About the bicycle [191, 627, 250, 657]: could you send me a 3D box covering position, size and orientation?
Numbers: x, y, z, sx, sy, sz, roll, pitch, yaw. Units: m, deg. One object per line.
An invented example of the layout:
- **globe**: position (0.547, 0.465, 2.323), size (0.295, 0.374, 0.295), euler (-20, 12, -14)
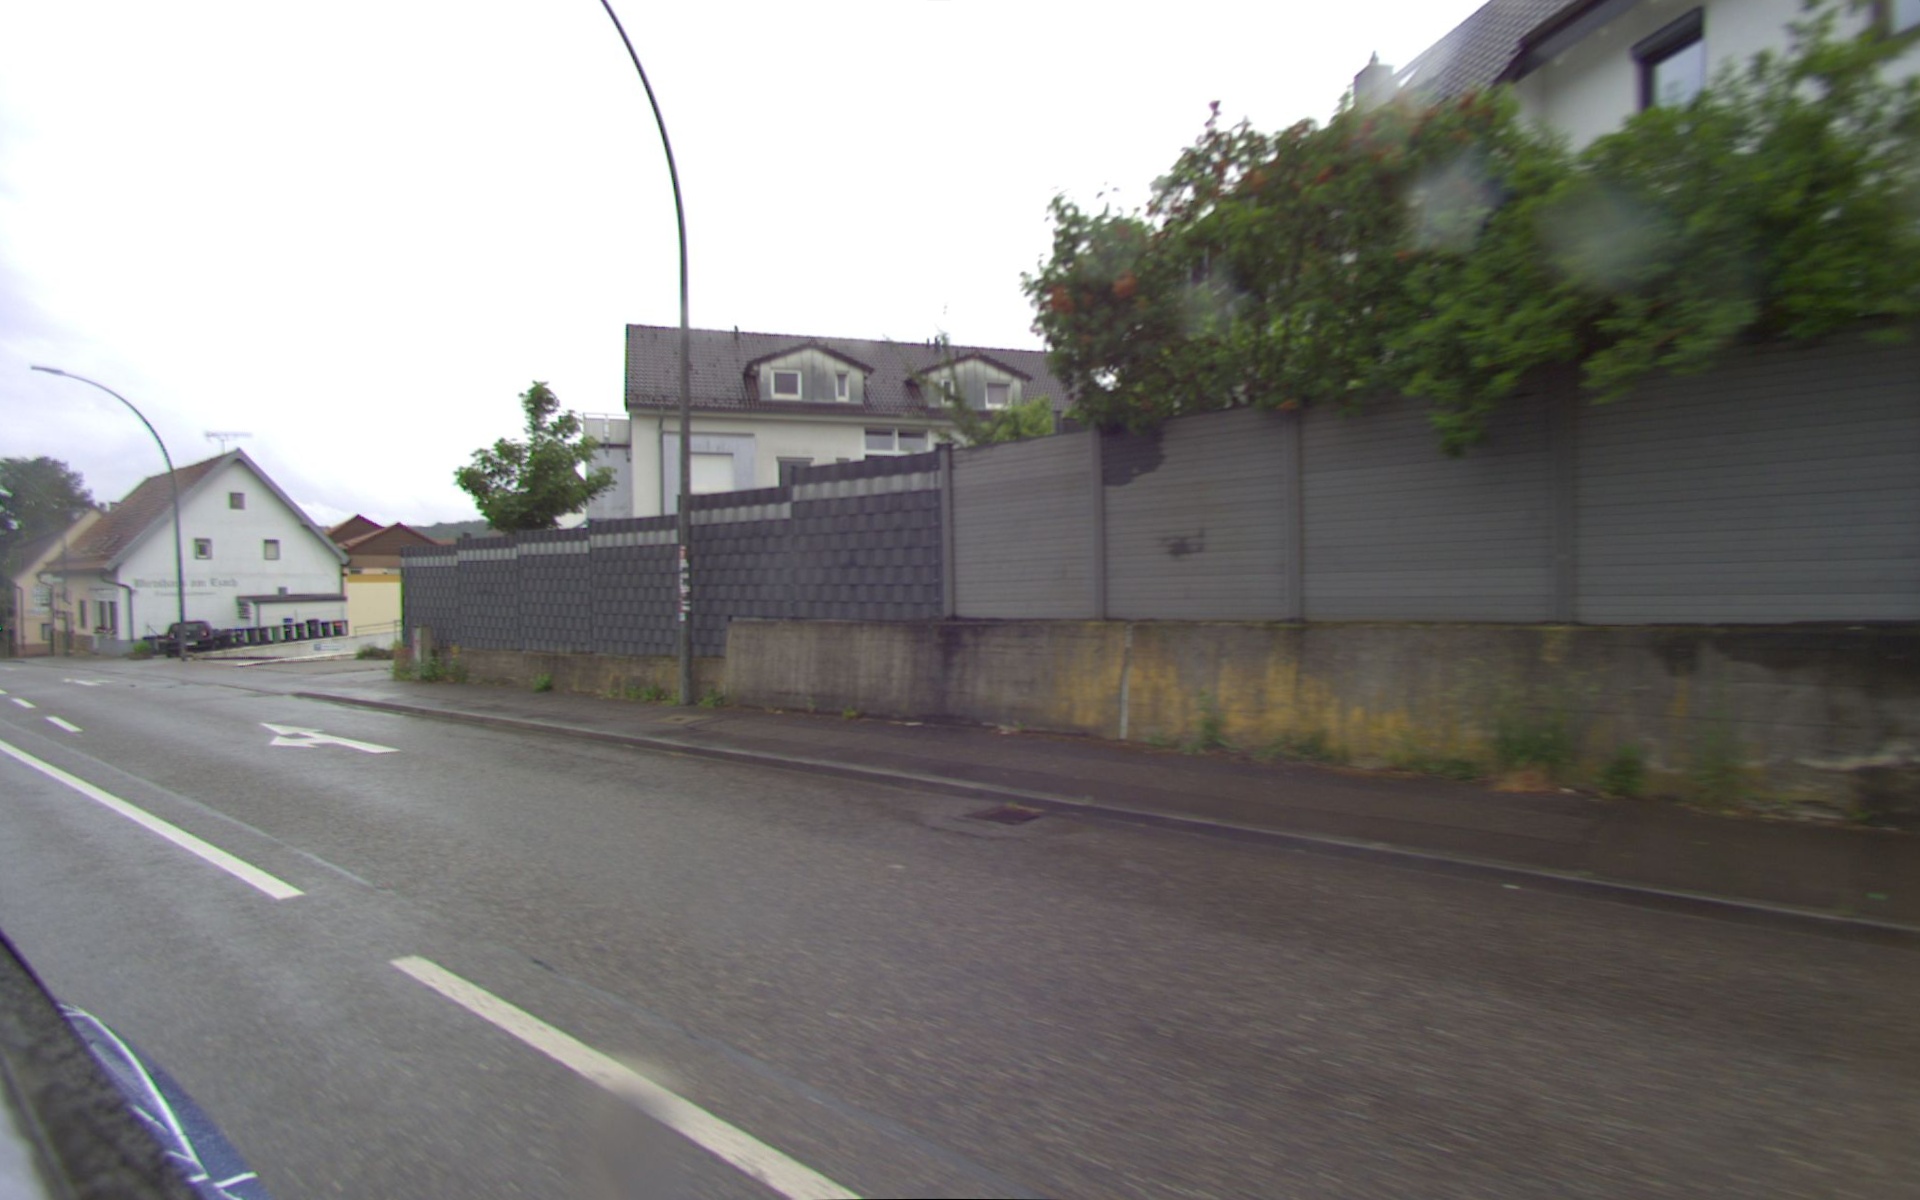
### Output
- **bicycle**: position (-33.686, 1.896, 46.143), size (2.069, 1.122, 0.739), euler (-5, 3, -33)

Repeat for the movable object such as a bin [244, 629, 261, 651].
- **movable object such as a bin**: position (-33.834, 1.902, 48.388), size (0.629, 1.040, 0.606), euler (0, -2, -36)

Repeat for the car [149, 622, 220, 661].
- **car**: position (-32.612, 1.725, 42.674), size (1.875, 1.453, 3.839), euler (-3, 0, -31)

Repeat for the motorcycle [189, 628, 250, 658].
- **motorcycle**: position (-33.283, 1.907, 45.511), size (2.082, 1.122, 0.782), euler (-5, 3, -33)

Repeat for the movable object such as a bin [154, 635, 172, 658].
- **movable object such as a bin**: position (-36.588, 2.135, 46.461), size (0.629, 1.040, 0.606), euler (0, -2, -36)

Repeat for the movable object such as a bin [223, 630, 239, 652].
- **movable object such as a bin**: position (-34.548, 1.948, 47.963), size (0.629, 1.040, 0.606), euler (0, -2, -36)

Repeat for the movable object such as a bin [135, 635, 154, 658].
- **movable object such as a bin**: position (-37.142, 2.122, 46.078), size (0.629, 1.040, 0.675), euler (0, -2, -36)

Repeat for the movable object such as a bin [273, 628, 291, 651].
- **movable object such as a bin**: position (-32.767, 1.909, 48.924), size (0.630, 1.040, 0.606), euler (-4, 0, -37)

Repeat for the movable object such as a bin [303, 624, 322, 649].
- **movable object such as a bin**: position (-31.738, 1.779, 49.582), size (0.630, 1.138, 0.606), euler (-9, 6, -35)
